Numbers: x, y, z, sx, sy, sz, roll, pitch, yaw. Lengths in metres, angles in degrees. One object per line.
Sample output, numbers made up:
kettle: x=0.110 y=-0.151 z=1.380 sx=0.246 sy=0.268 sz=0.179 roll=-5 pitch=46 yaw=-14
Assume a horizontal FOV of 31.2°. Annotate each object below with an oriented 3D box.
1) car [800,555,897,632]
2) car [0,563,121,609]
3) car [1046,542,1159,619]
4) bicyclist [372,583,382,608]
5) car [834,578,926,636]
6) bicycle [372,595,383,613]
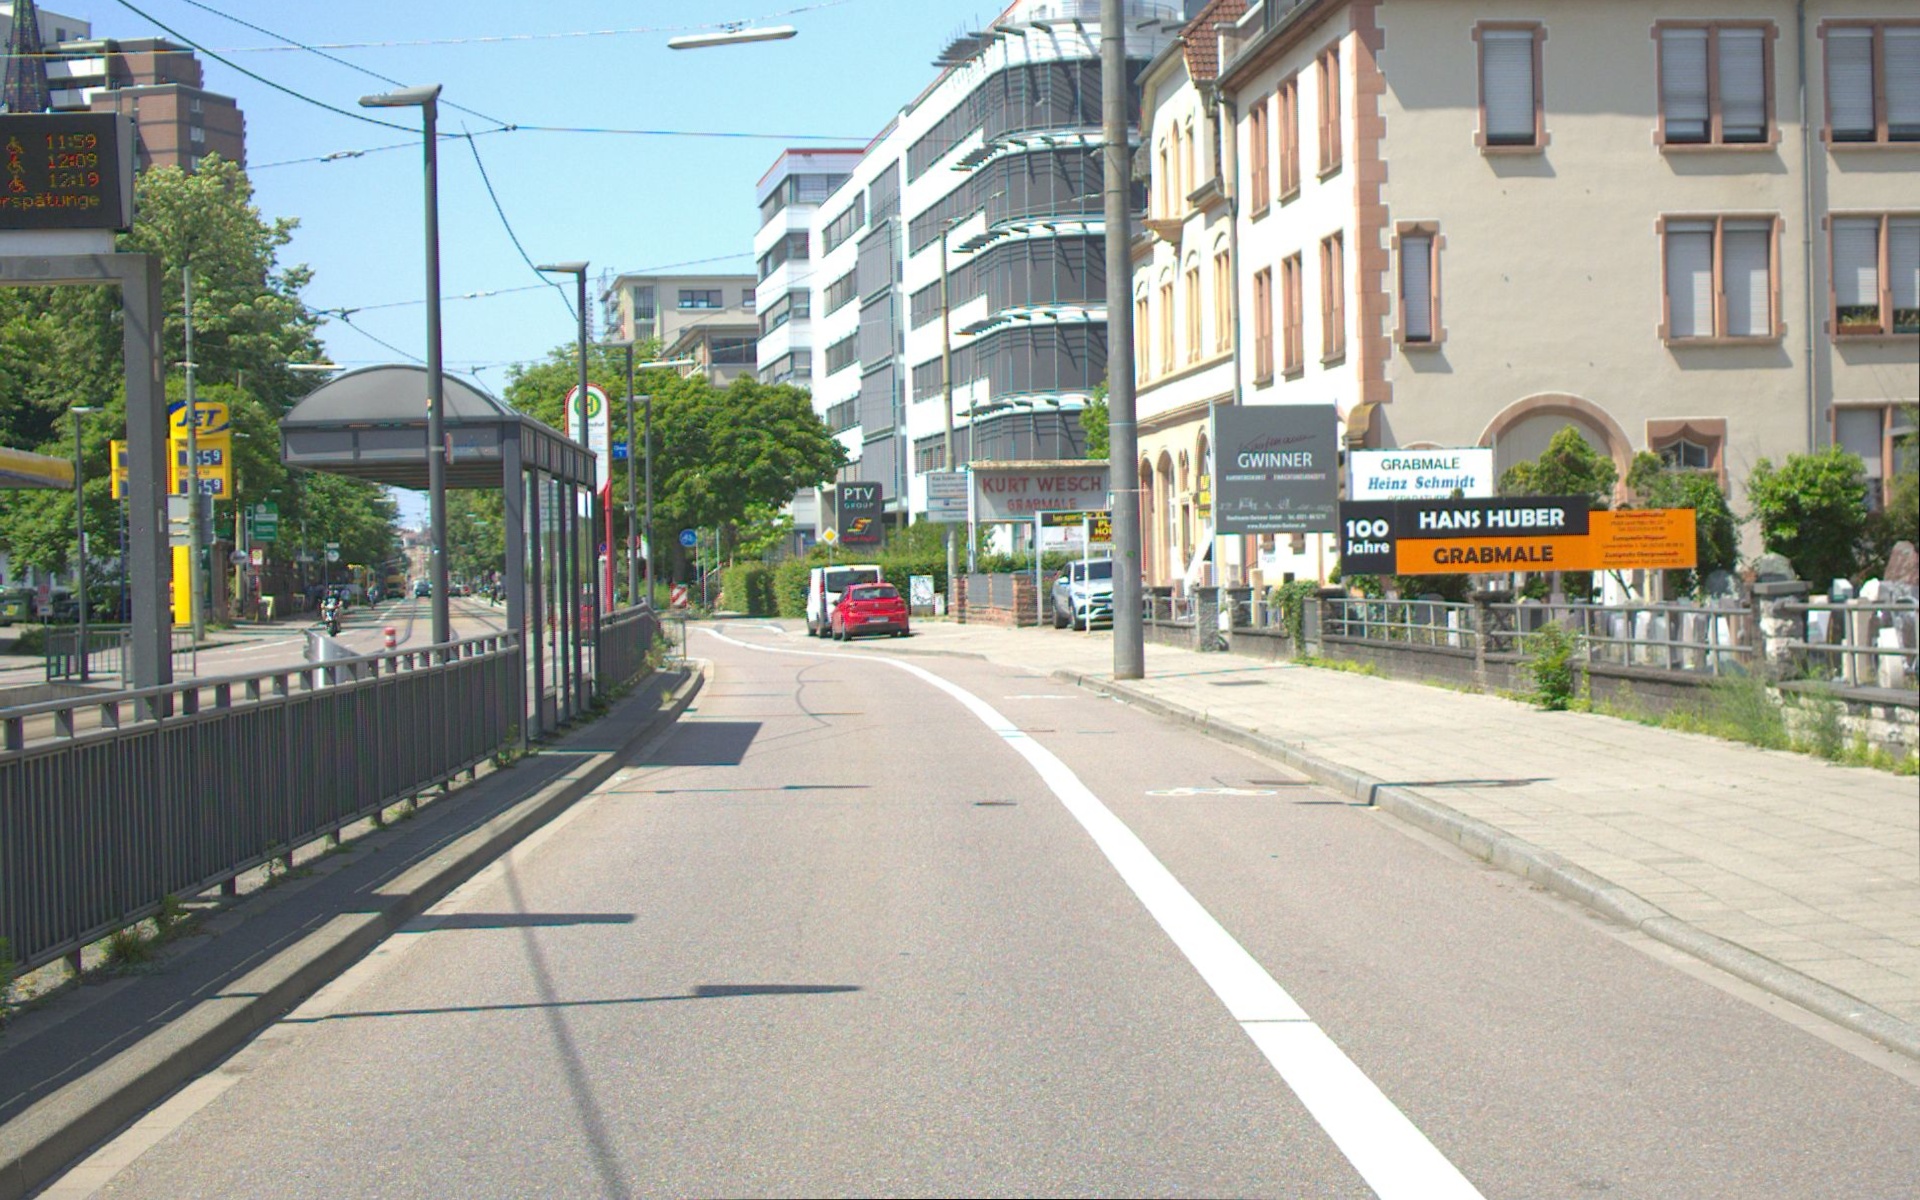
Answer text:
car: x=-3.162 y=-0.194 z=96.290 sx=1.993 sy=1.985 sz=5.516 roll=-3 pitch=1 yaw=-8
car: x=-33.655 y=-0.532 z=128.117 sx=1.997 sy=1.584 sz=4.325 roll=-1 pitch=0 yaw=36
car: x=3.281 y=-0.462 z=79.905 sx=1.878 sy=1.619 sz=4.640 roll=-4 pitch=1 yaw=-6
bicyclist: x=-39.591 y=-0.327 z=233.478 sx=0.641 sy=1.674 sz=0.815 roll=-1 pitch=0 yaw=-9
car: x=-2.120 y=0.155 z=89.748 sx=1.993 sy=1.437 sz=4.017 roll=-1 pitch=0 yaw=-7
bicycle: x=-39.591 y=0.247 z=233.650 sx=0.701 sy=1.200 sz=2.241 roll=-3 pitch=1 yaw=-9
